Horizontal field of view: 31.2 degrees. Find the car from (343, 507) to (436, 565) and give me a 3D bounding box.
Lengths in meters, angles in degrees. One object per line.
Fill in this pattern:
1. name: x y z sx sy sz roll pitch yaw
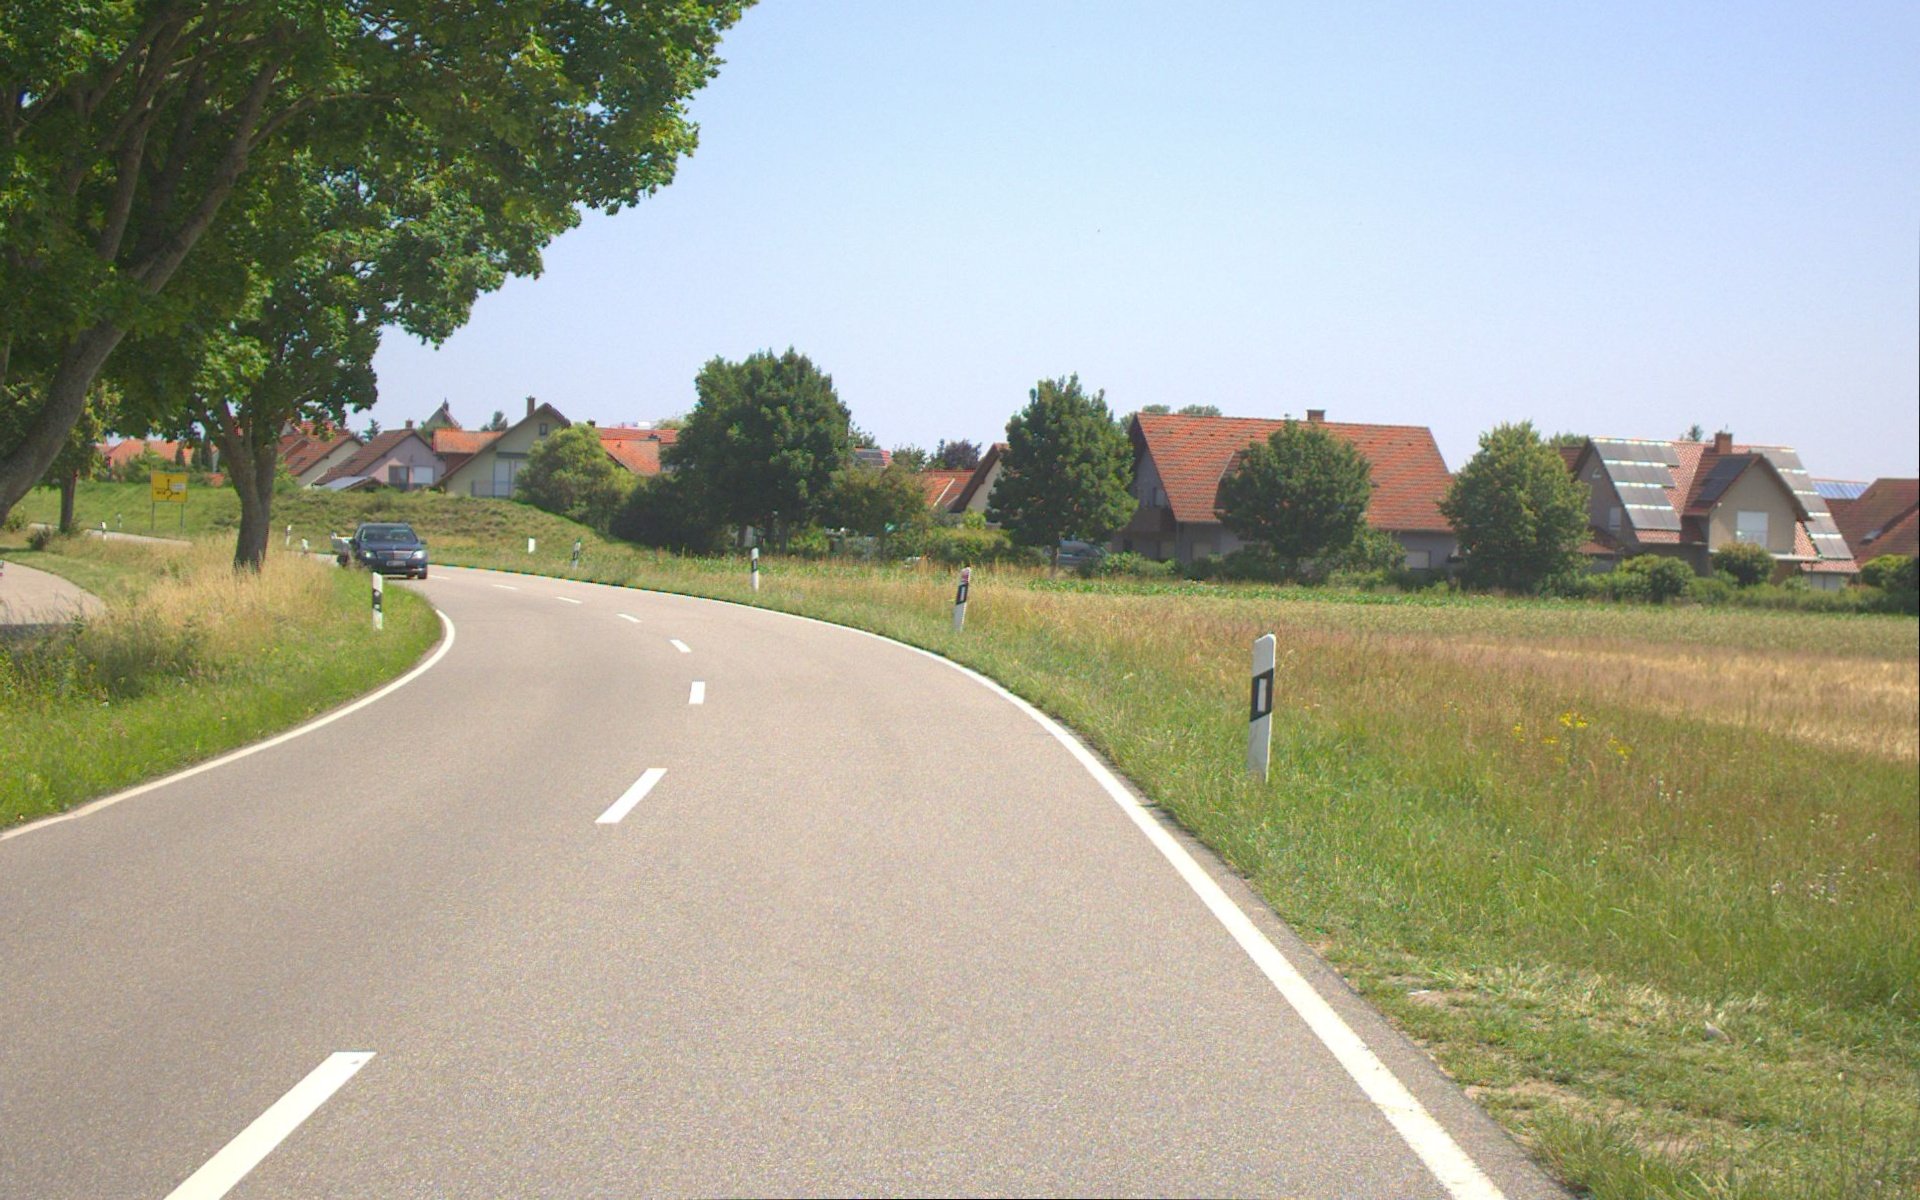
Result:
1. car: -14.640 -1.641 88.150 1.643 1.424 4.182 -1 1 -19
